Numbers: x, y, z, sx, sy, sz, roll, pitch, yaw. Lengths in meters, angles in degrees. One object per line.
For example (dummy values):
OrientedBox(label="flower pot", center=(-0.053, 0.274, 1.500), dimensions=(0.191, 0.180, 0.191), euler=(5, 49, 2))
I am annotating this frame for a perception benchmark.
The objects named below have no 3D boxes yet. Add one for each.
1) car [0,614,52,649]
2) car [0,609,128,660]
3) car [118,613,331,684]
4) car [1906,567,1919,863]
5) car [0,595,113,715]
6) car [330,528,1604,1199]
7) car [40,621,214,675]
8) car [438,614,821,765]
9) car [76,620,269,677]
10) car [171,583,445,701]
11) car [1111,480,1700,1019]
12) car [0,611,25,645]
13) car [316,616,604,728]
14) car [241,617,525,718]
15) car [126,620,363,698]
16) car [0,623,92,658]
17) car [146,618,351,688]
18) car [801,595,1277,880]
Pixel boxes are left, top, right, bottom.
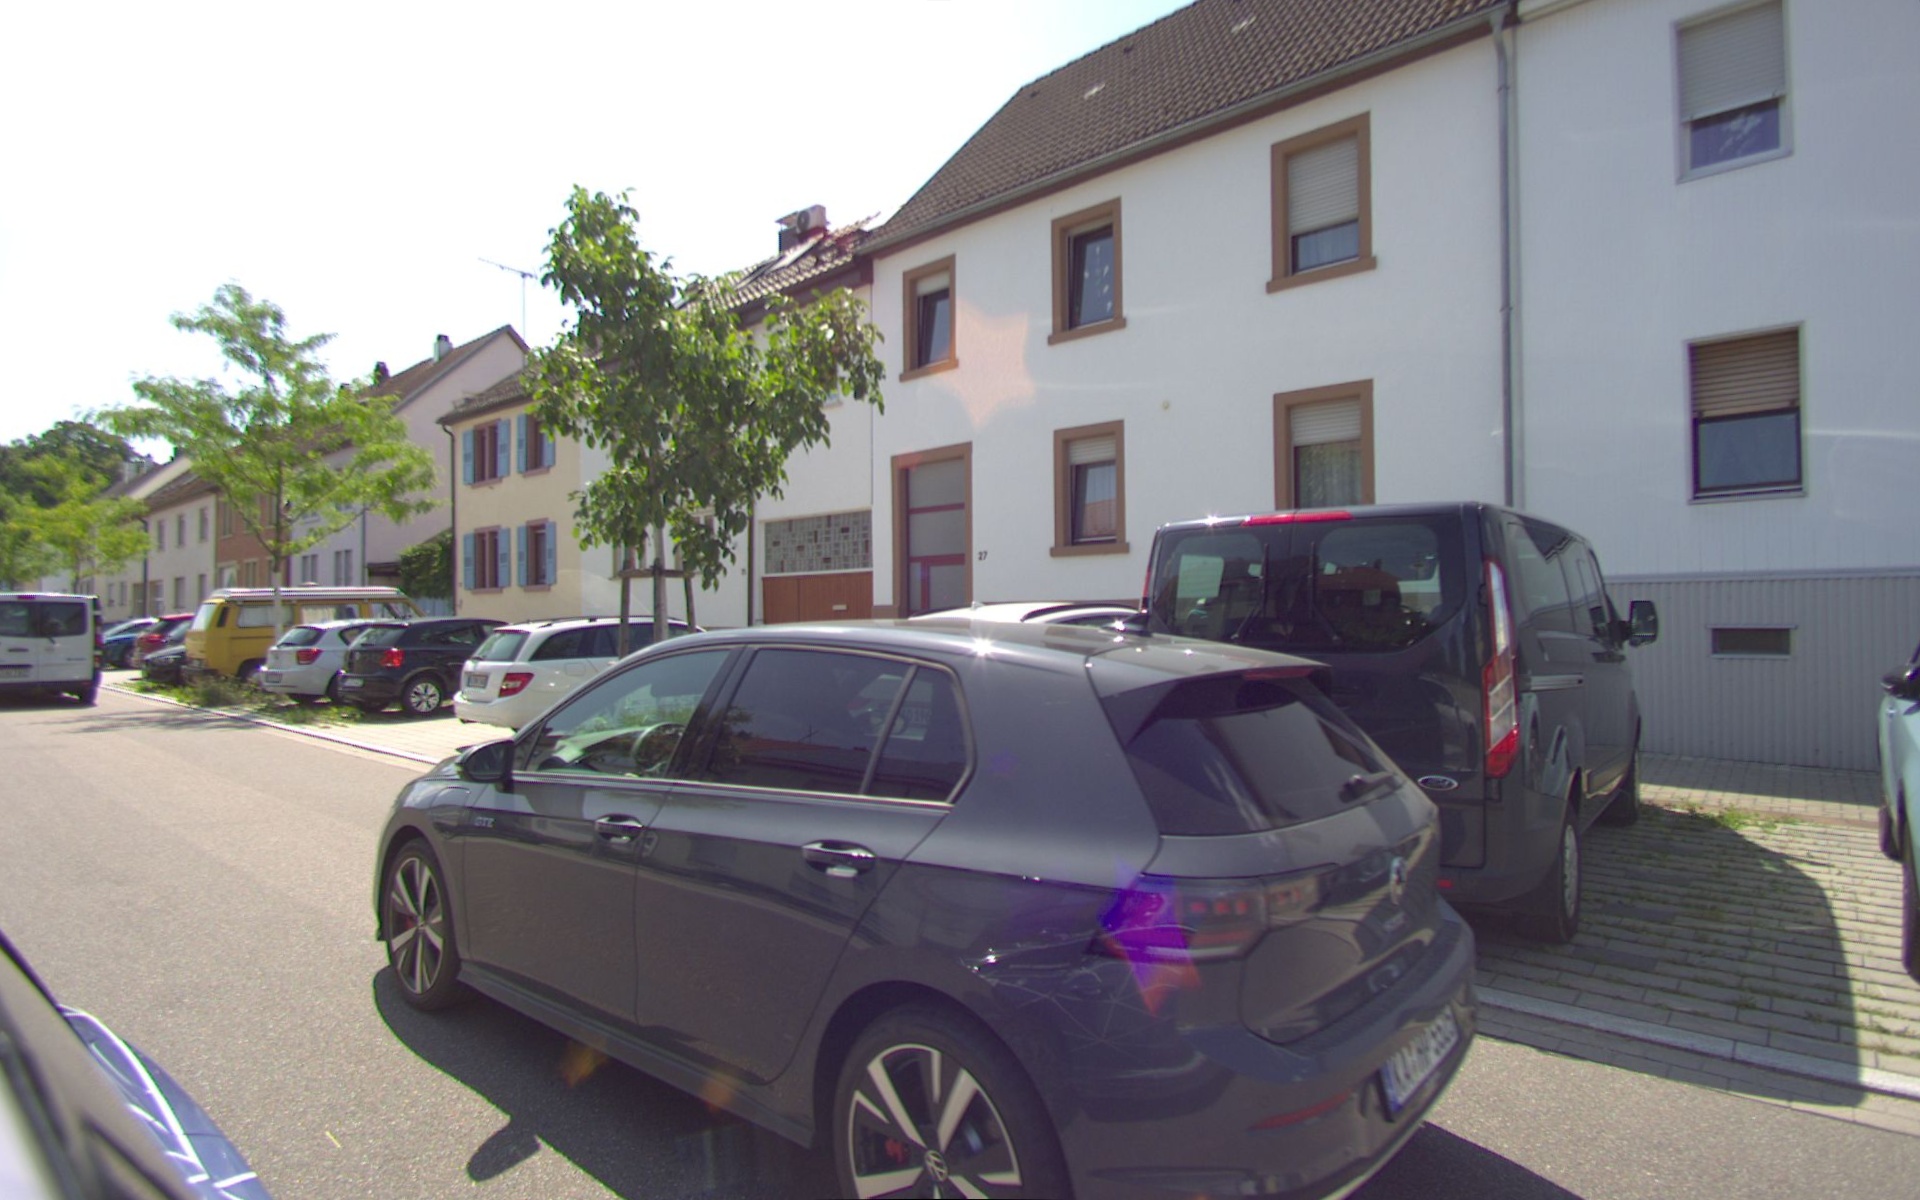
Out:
OrientedBox(label="car", center=(-54.505, 1.805, 57.149), dimensions=(1.999, 1.921, 4.628), euler=(0, 1, 41))
OrientedBox(label="car", center=(-38.598, 1.425, 43.162), dimensions=(1.953, 2.011, 4.563), euler=(-1, 0, 43))
OrientedBox(label="car", center=(-19.187, 1.196, 26.549), dimensions=(1.841, 1.623, 4.210), euler=(-1, 0, 40))
OrientedBox(label="car", center=(5.352, 0.646, 4.303), dimensions=(1.771, 1.631, 4.132), euler=(0, 1, 41))
OrientedBox(label="car", center=(-17.362, 0.924, 18.570), dimensions=(4.895, 1.965, 2.002), euler=(0, -1, 41))
OrientedBox(label="car", center=(-0.376, 0.732, 3.362), dimensions=(4.046, 1.534, 1.744), euler=(-1, -3, 41))
OrientedBox(label="car", center=(-26.474, 1.478, 32.255), dimensions=(1.773, 1.489, 4.014), euler=(-1, 0, 38))
OrientedBox(label="car", center=(-3.959, 0.959, 12.685), dimensions=(1.774, 1.479, 4.248), euler=(0, 0, 43))
OrientedBox(label="car", center=(-23.861, 1.420, 30.810), dimensions=(1.773, 1.489, 4.362), euler=(-1, 0, 37))
OrientedBox(label="car", center=(-13.474, 0.776, 21.133), dimensions=(1.924, 2.194, 4.461), euler=(-1, 0, 41))
OrientedBox(label="car", center=(2.984, 0.502, 6.039), dimensions=(1.937, 1.937, 4.651), euler=(0, 1, 41))
OrientedBox(label="car", center=(-66.593, 1.949, 68.138), dimensions=(2.155, 2.305, 5.116), euler=(-1, 0, 39))
OrientedBox(label="car", center=(-7.839, 1.033, 16.194), dimensions=(1.654, 1.479, 3.848), euler=(0, 0, 33))
OrientedBox(label="car", center=(-10.043, 1.094, 17.919), dimensions=(1.748, 1.479, 4.040), euler=(-1, 0, 33))
OrientedBox(label="car", center=(-15.624, 1.219, 22.253), dimensions=(1.754, 1.470, 3.968), euler=(-1, 0, 41))
OrientedBox(label="car", center=(-43.853, 1.905, 48.050), dimensions=(1.773, 1.500, 3.873), euler=(-1, 0, 43))
OrientedBox(label="car", center=(-17.182, 1.229, 24.569), dimensions=(1.753, 1.470, 3.755), euler=(-1, 0, 38))
OrientedBox(label="car", center=(0.882, 0.783, 7.989), dimensions=(1.771, 1.580, 4.144), euler=(-1, 1, 37))
